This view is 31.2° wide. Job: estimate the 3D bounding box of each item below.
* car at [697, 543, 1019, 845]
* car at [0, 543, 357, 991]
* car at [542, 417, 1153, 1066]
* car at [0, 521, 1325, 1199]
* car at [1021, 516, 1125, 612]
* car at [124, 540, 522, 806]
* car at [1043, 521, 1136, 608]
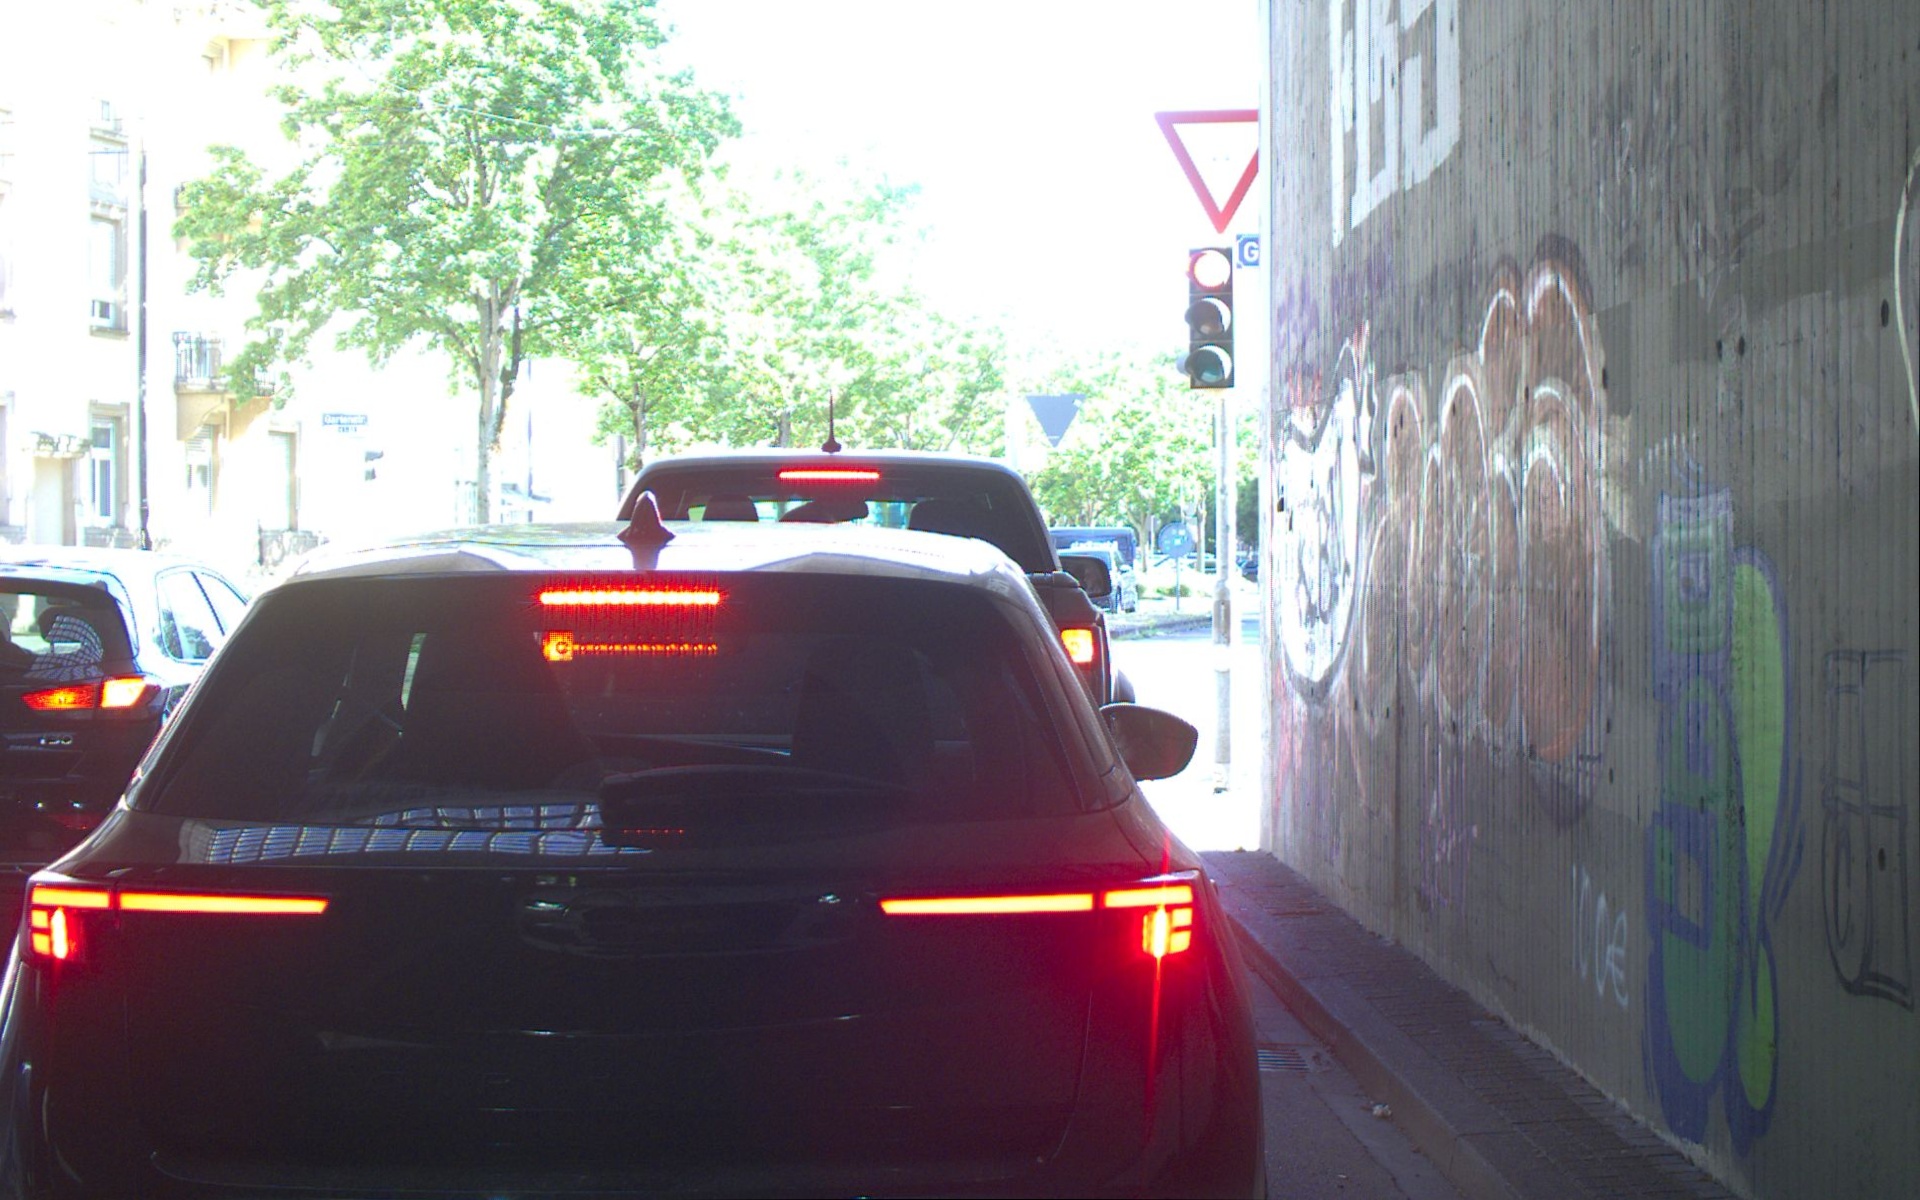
[{"bbox_3d":[-0.534,0.439,19.238,1.609,1.508,4.054,0,1,-1],"label":"car"},{"bbox_3d":[-3.526,0.520,13.266,1.762,1.475,3.844,0,1,-1],"label":"car"},{"bbox_3d":[-0.349,0.376,12.018,1.762,1.876,4.146,0,1,-1],"label":"car"},{"bbox_3d":[-0.478,0.638,6.078,1.762,1.526,4.089,0,1,-1],"label":"car"},{"bbox_3d":[2.078,-0.649,62.174,1.754,1.661,3.944,1,1,3],"label":"car"},{"bbox_3d":[-3.776,0.374,20.990,1.762,1.475,3.844,0,1,-1],"label":"car"},{"bbox_3d":[2.599,-0.702,68.293,1.754,1.661,3.944,1,1,3],"label":"car"}]
